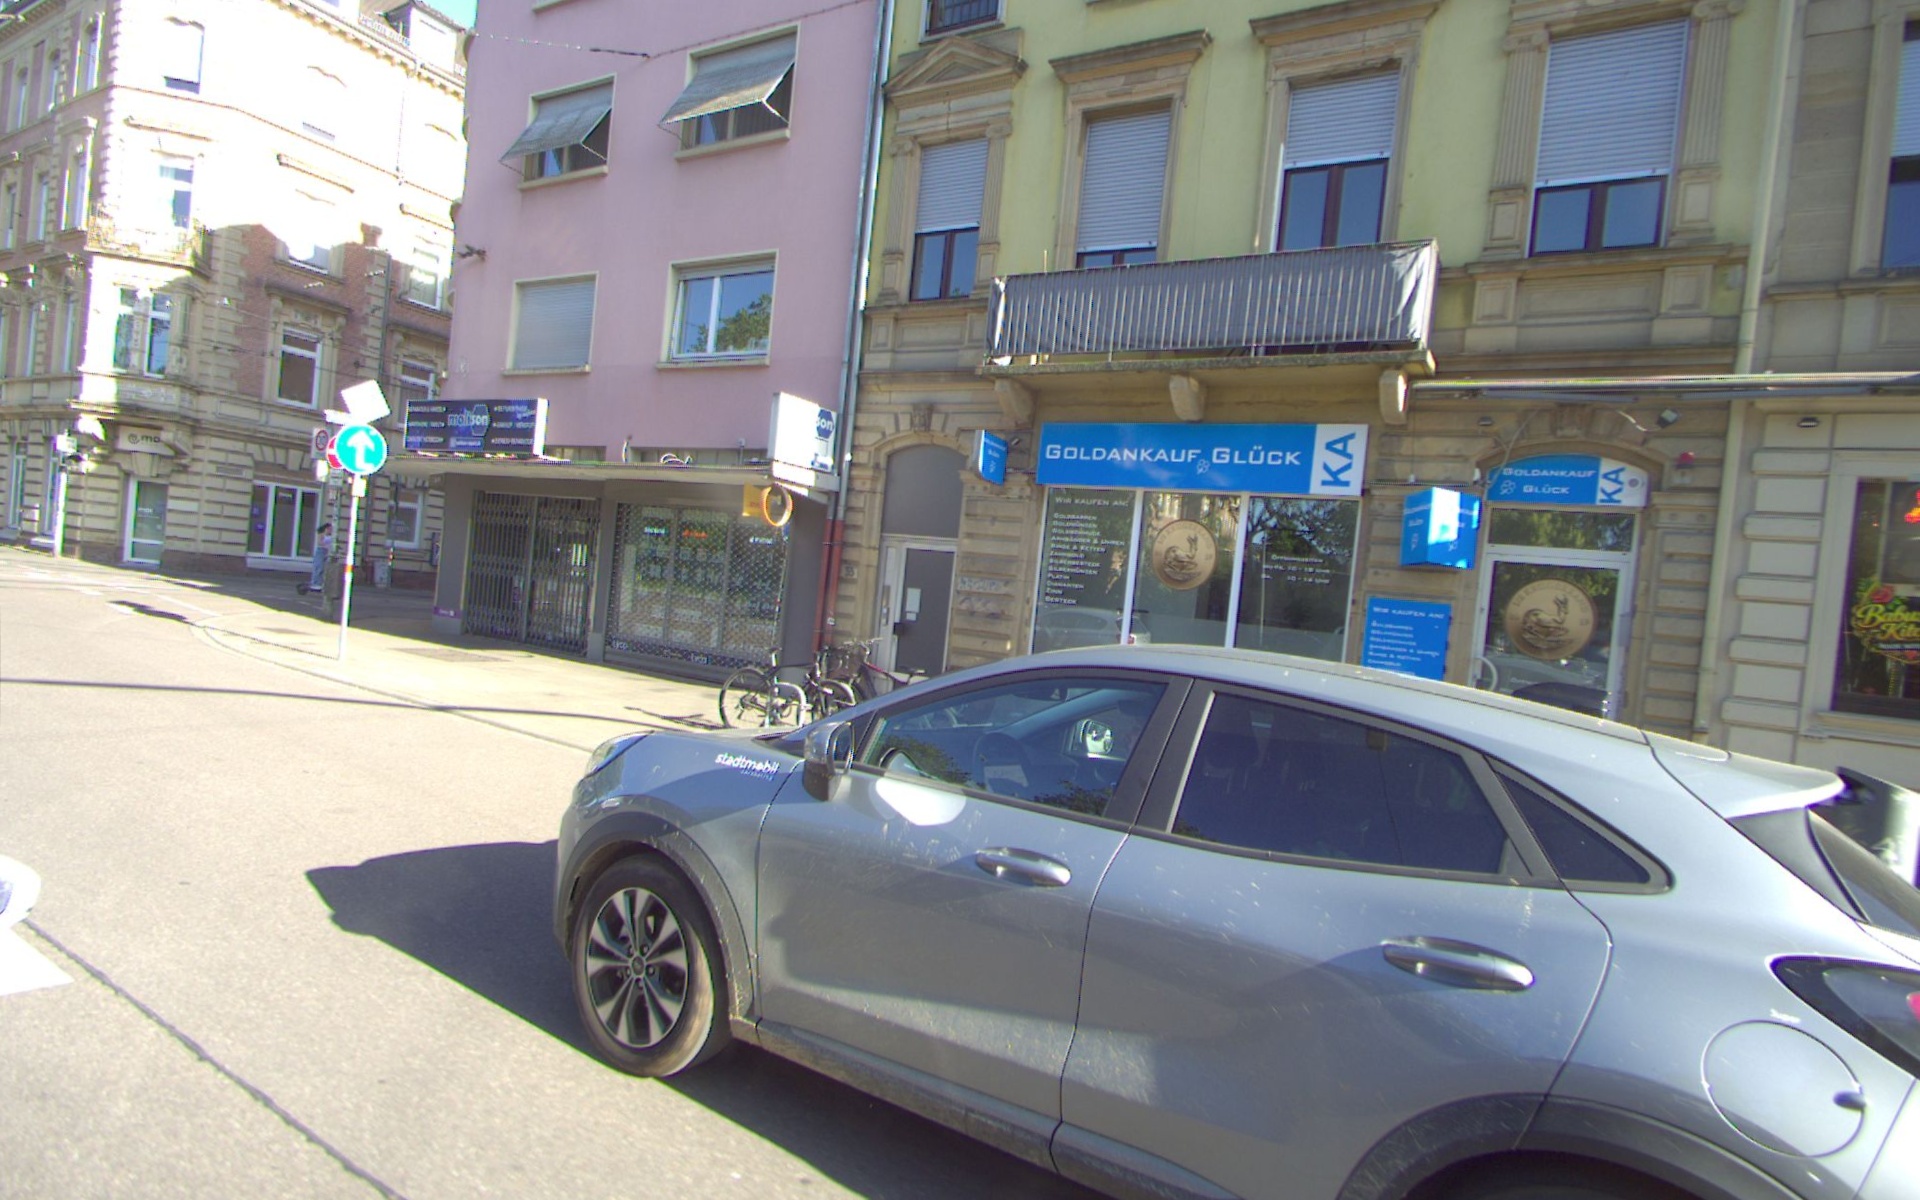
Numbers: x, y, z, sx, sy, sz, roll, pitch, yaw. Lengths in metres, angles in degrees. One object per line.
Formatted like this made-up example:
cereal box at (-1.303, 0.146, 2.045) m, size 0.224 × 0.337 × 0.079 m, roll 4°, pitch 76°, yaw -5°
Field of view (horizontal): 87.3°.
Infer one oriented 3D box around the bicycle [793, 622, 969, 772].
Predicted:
bicycle at (-0.794, 0.899, 9.711) m, size 1.732 × 1.174 × 0.448 m, roll 7°, pitch 1°, yaw 38°

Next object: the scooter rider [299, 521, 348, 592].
scooter rider at (-14.598, -0.991, 23.072) m, size 0.796 × 1.524 × 0.466 m, roll 7°, pitch 1°, yaw 21°

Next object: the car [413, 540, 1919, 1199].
car at (0.445, 0.835, 3.076) m, size 4.308 × 1.546 × 1.700 m, roll 6°, pitch -1°, yaw 32°

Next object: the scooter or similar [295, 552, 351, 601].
scooter or similar at (-14.620, -0.541, 23.101) m, size 1.260 × 1.000 × 0.338 m, roll 7°, pitch 1°, yaw 22°

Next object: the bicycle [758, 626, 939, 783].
bicycle at (-1.067, 0.924, 9.290) m, size 1.783 × 1.155 × 0.413 m, roll 7°, pitch 0°, yaw 39°
